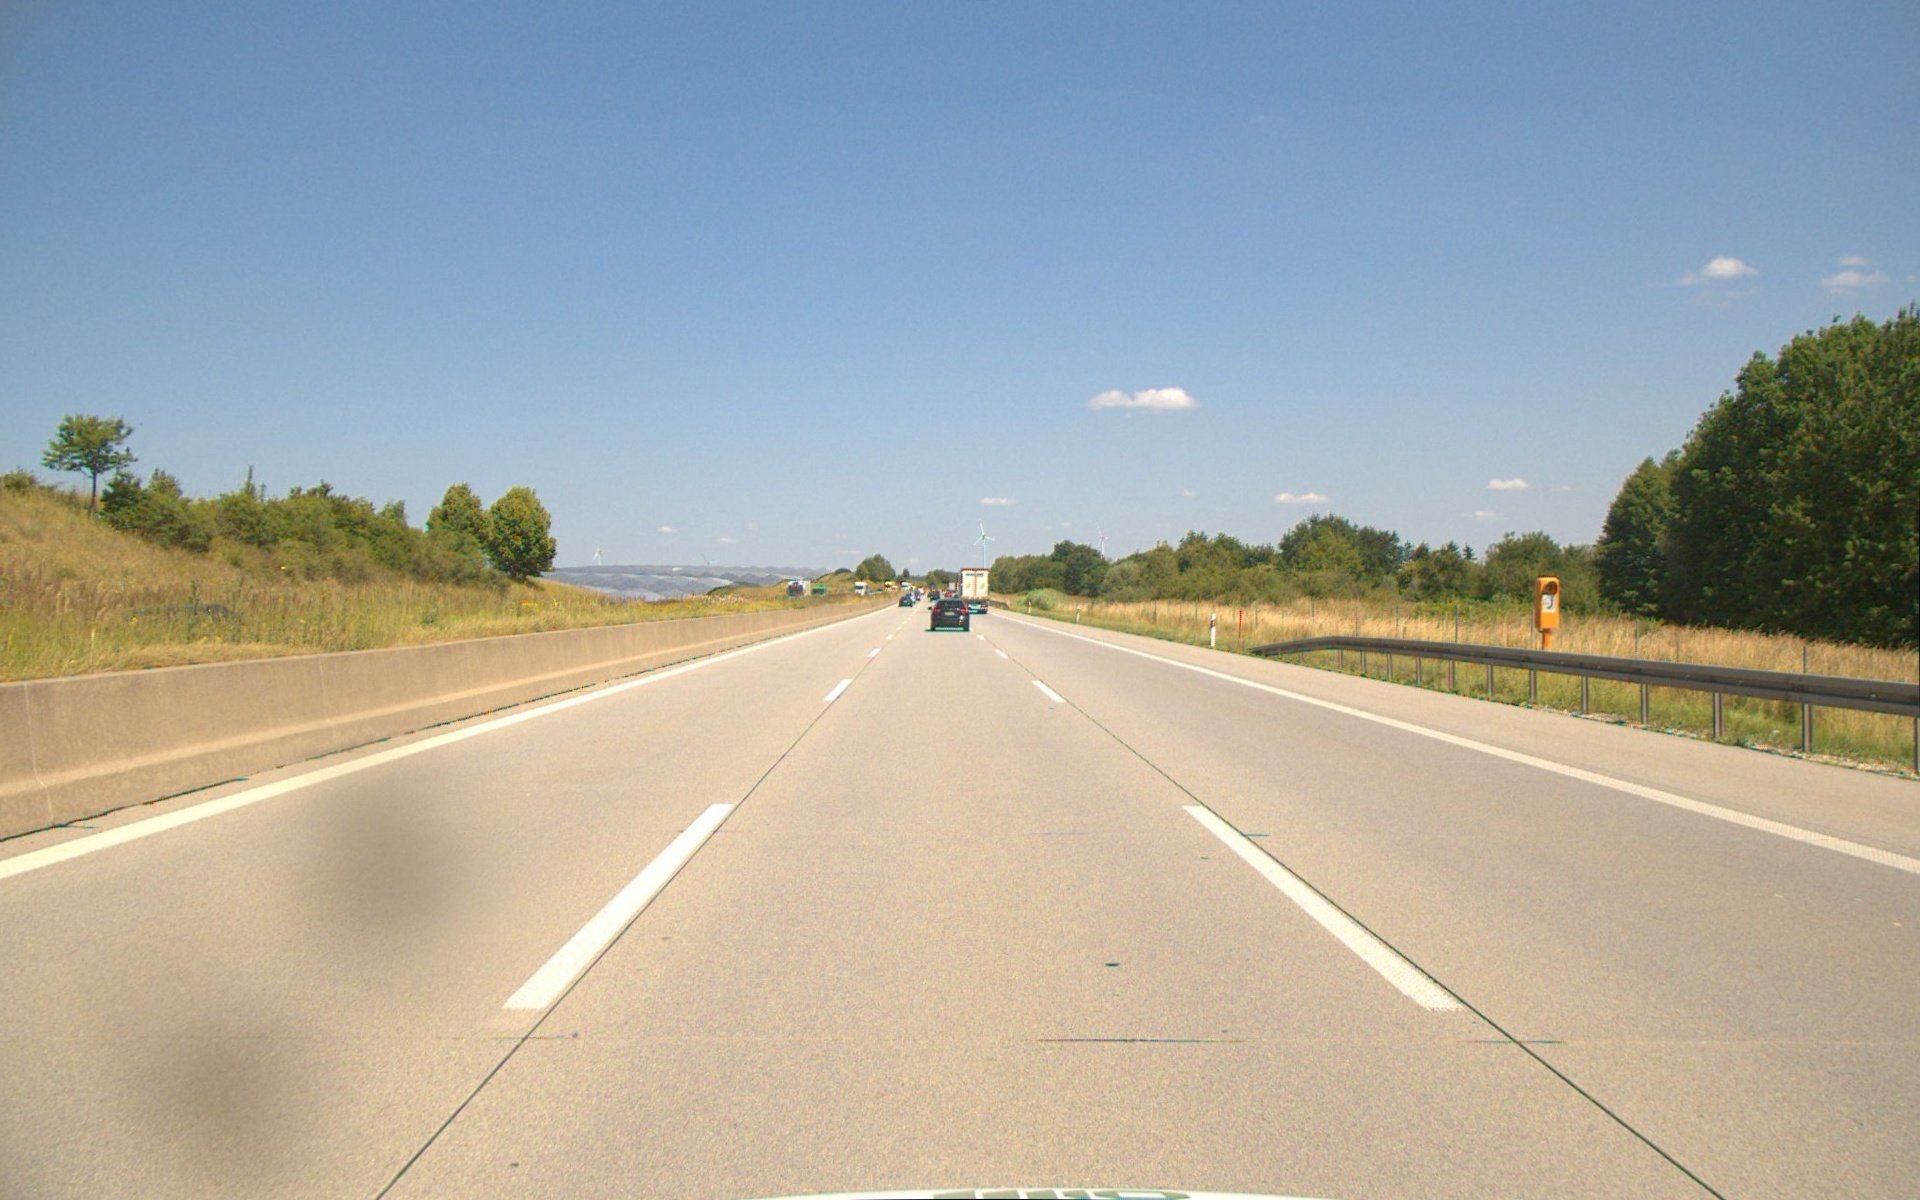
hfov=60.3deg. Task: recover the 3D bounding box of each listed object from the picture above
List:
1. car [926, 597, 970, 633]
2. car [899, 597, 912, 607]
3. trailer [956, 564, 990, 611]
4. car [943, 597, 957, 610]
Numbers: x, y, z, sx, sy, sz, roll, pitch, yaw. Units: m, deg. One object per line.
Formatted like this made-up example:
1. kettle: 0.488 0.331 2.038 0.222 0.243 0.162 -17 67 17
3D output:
1. car: -0.574 0.654 74.864 1.872 1.518 4.190 1 0 -2
2. car: -7.033 0.236 213.337 1.622 1.217 3.959 3 0 -1
3. trailer: 1.177 -1.138 155.445 2.795 4.113 12.710 1 0 -1
4. car: -1.504 0.544 252.440 1.789 1.940 4.001 1 0 3
